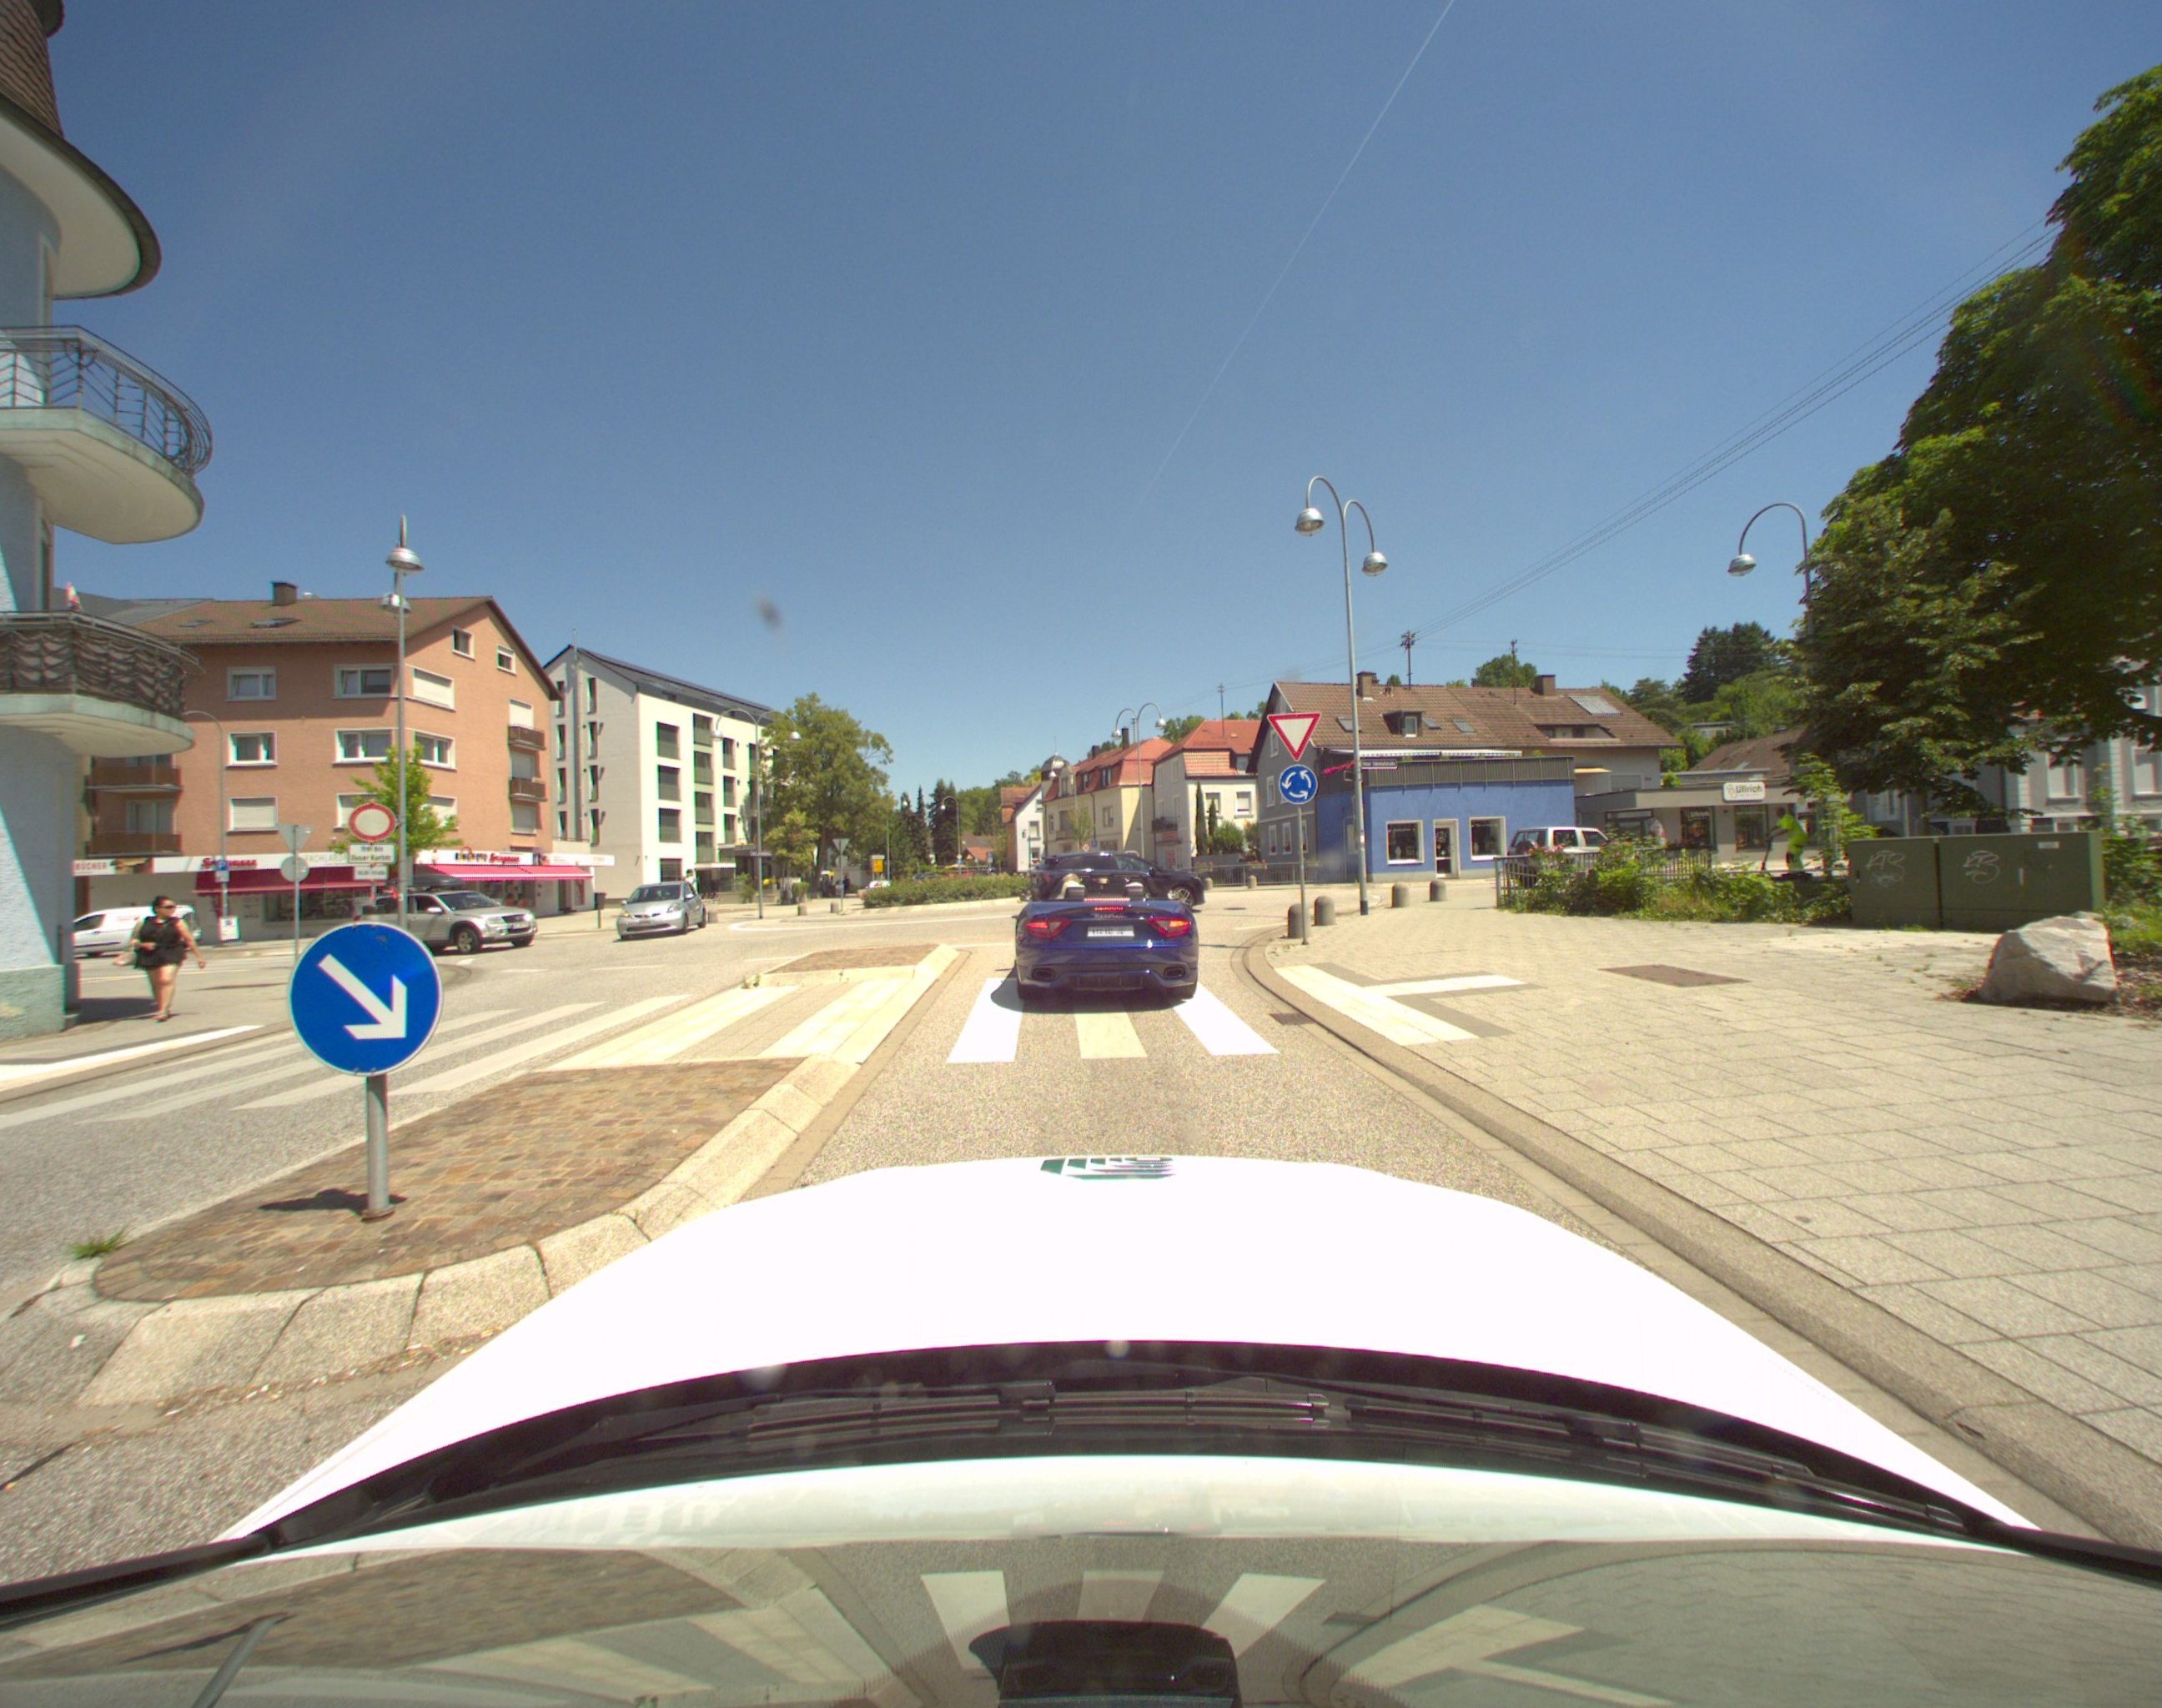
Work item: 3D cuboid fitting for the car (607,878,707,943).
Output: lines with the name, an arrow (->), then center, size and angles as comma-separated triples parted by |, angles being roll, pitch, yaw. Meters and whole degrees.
car -> -11.600, 1.488, 22.505 | 1.578, 1.450, 3.453 | -5, 0, -14

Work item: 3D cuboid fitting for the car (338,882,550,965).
car -> -16.690, 1.800, 21.450 | 4.165, 1.688, 1.842 | -5, 1, 7

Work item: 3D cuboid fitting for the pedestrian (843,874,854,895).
pedestrian -> -18.750, 2.460, 65.699 | 0.531, 1.576, 0.564 | -3, -1, 12

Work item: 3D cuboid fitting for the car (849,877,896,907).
car -> -11.903, 2.125, 46.751 | 1.991, 1.509, 3.991 | -3, -1, -6

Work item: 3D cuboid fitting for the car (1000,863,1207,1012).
car -> 0.312, 0.814, 9.785 | 1.903, 1.360, 4.288 | -1, -1, 3

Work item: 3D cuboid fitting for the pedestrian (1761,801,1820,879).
pedestrian -> 17.078, -0.324, 19.621 | 0.737, 1.799, 0.677 | -4, 0, -12

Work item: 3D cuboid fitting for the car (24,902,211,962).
car -> -34.733, 2.768, 29.491 | 3.994, 1.750, 1.793 | -3, -1, -15

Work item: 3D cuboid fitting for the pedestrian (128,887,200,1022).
pedestrian -> -11.484, 1.234, 10.209 | 0.508, 1.585, 0.550 | -4, -1, 42

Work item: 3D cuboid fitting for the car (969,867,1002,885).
car -> -9.564, 2.220, 81.521 | 1.861, 1.588, 3.962 | -3, -1, -29

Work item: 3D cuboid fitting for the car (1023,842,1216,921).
car -> 0.867, 0.593, 19.374 | 4.253, 1.547, 1.804 | -3, 2, -13

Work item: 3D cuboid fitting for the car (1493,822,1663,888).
car -> 14.870, 0.026, 24.463 | 4.216, 1.875, 1.757 | -1, -1, -10
